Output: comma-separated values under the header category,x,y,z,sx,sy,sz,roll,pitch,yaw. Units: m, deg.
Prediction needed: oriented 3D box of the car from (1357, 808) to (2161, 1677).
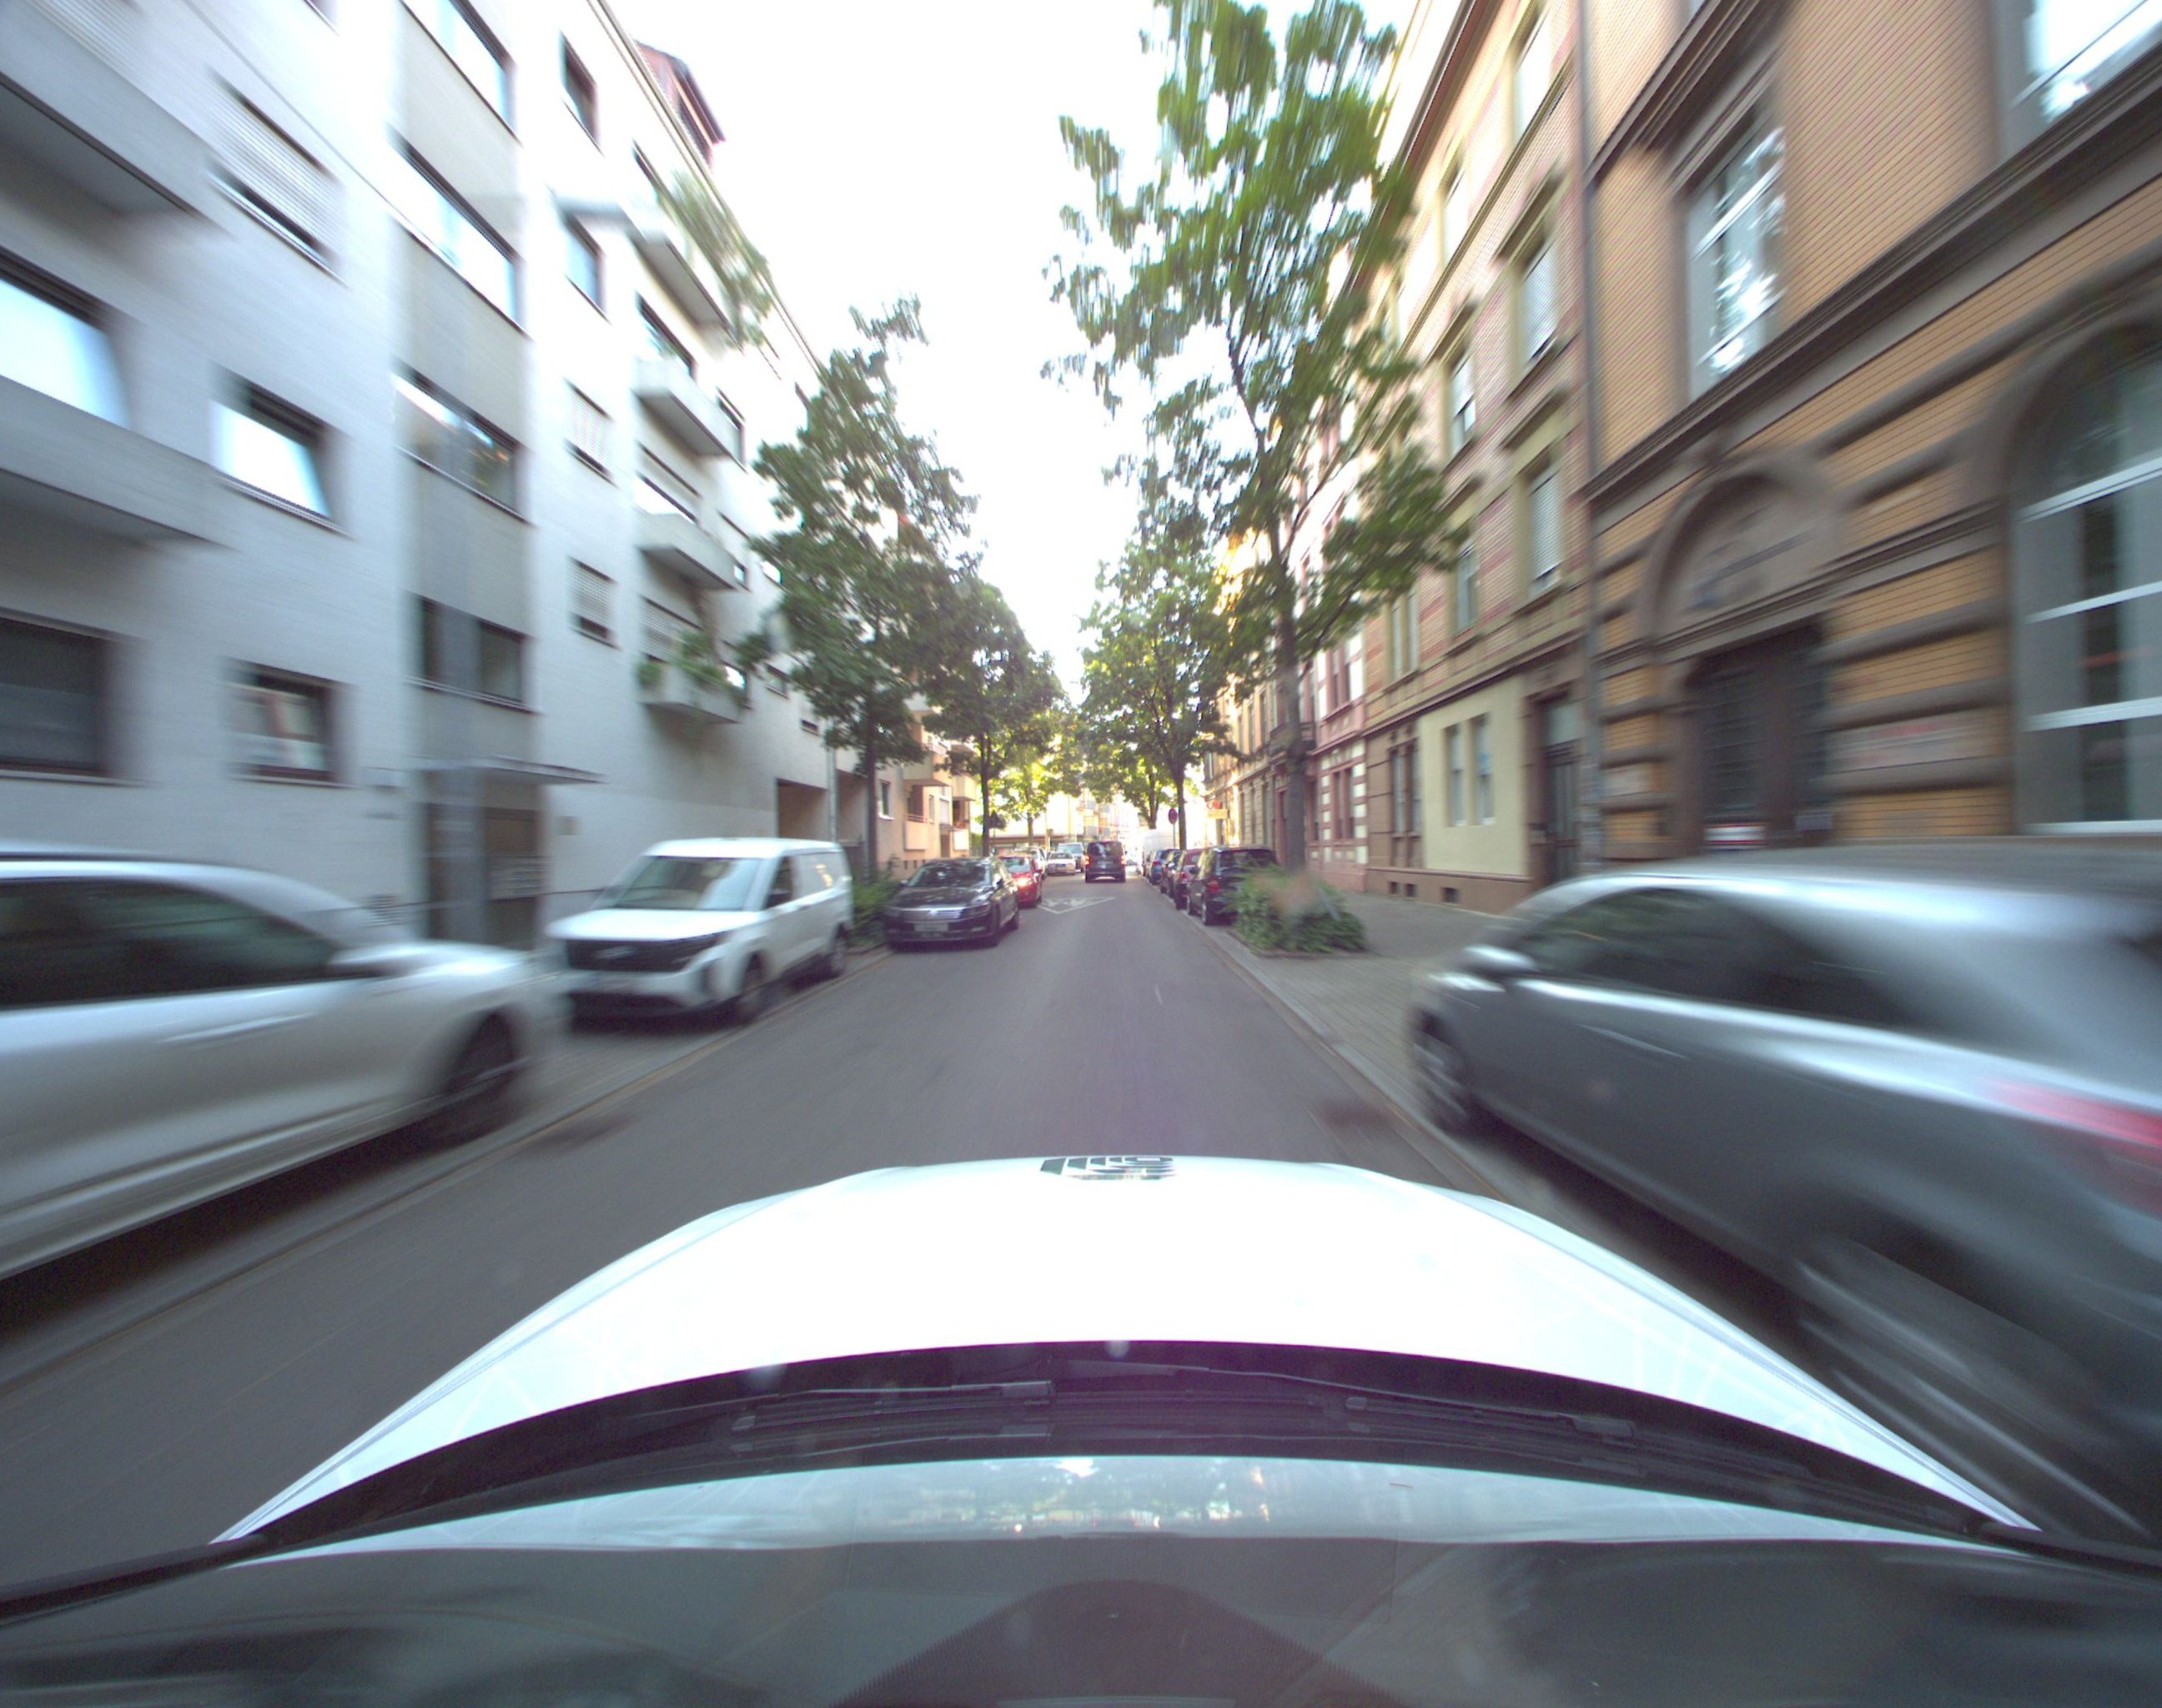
category,x,y,z,sx,sy,sz,roll,pitch,yaw
car,2.691,0.645,3.336,1.692,1.482,3.999,-4,0,0

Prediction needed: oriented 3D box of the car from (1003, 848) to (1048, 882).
category,x,y,z,sx,sy,sz,roll,pitch,yaw
car,-2.731,0.503,40.960,1.890,1.637,4.158,0,0,2

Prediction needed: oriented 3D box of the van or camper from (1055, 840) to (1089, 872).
category,x,y,z,sx,sy,sz,roll,pitch,yaw
van or camper,-0.563,0.136,54.573,1.854,1.983,4.275,-2,0,3

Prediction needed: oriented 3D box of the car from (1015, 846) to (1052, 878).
category,x,y,z,sx,sy,sz,roll,pitch,yaw
car,-2.625,0.412,45.787,1.735,1.712,3.376,0,0,2

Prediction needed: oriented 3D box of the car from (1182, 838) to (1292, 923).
category,x,y,z,sx,sy,sz,roll,pitch,yaw
car,3.217,0.487,17.460,1.606,1.559,3.766,-3,0,0

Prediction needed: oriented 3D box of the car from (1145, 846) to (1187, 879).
category,x,y,z,sx,sy,sz,roll,pitch,yaw
car,4.096,0.391,39.739,1.744,1.471,3.777,-2,0,1

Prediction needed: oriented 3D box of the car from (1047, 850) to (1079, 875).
category,x,y,z,sx,sy,sz,roll,pitch,yaw
car,-1.063,0.487,49.480,1.735,1.404,3.376,-2,0,2

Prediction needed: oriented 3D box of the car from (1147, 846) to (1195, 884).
category,x,y,z,sx,sy,sz,roll,pitch,yaw
car,3.773,0.437,34.486,1.743,1.471,3.778,-2,0,2

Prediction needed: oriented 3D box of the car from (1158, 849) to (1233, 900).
category,x,y,z,sx,sy,sz,roll,pitch,yaw
car,3.503,0.575,25.482,1.710,1.403,3.812,-2,0,-1

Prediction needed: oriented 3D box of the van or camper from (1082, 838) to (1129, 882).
category,x,y,z,sx,sy,sz,roll,pitch,yaw
van or camper,1.217,0.246,38.590,2.026,1.897,4.275,-1,0,4

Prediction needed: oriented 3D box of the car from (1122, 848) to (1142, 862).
category,x,y,z,sx,sy,sz,roll,pitch,yaw
car,6.098,0.135,97.241,1.783,1.578,3.762,-2,0,14

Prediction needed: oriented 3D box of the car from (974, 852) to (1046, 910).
category,x,y,z,sx,sy,sz,roll,pitch,yaw
car,-1.936,0.709,23.146,1.624,1.430,3.543,-2,0,1

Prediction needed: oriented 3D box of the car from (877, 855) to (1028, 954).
category,x,y,z,sx,sy,sz,roll,pitch,yaw
car,-2.142,0.791,14.893,1.839,1.451,4.505,-1,0,2

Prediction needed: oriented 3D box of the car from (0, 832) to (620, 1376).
category,x,y,z,sx,sy,sz,roll,pitch,yaw
car,-4.343,0.756,3.459,2.027,1.672,4.649,1,1,1

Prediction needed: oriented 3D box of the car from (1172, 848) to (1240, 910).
category,x,y,z,sx,sy,sz,roll,pitch,yaw
car,3.261,0.601,21.761,1.543,1.496,3.615,-1,0,5

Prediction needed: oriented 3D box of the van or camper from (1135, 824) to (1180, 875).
category,x,y,z,sx,sy,sz,roll,pitch,yaw
van or camper,4.196,-0.245,45.464,1.987,2.599,5.425,-2,0,1

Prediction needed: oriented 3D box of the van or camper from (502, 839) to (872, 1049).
category,x,y,z,sx,sy,sz,roll,pitch,yaw
van or camper,-3.955,0.743,9.220,1.924,1.759,4.466,1,1,1

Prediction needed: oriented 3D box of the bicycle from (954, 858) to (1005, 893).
category,x,y,z,sx,sy,sz,roll,pitch,yaw
bicycle,-3.650,0.768,29.502,1.839,1.195,0.598,-1,1,-44

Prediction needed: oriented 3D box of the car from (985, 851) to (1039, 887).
category,x,y,z,sx,sy,sz,roll,pitch,yaw
car,-3.009,0.609,36.129,1.731,1.484,3.845,0,0,5
